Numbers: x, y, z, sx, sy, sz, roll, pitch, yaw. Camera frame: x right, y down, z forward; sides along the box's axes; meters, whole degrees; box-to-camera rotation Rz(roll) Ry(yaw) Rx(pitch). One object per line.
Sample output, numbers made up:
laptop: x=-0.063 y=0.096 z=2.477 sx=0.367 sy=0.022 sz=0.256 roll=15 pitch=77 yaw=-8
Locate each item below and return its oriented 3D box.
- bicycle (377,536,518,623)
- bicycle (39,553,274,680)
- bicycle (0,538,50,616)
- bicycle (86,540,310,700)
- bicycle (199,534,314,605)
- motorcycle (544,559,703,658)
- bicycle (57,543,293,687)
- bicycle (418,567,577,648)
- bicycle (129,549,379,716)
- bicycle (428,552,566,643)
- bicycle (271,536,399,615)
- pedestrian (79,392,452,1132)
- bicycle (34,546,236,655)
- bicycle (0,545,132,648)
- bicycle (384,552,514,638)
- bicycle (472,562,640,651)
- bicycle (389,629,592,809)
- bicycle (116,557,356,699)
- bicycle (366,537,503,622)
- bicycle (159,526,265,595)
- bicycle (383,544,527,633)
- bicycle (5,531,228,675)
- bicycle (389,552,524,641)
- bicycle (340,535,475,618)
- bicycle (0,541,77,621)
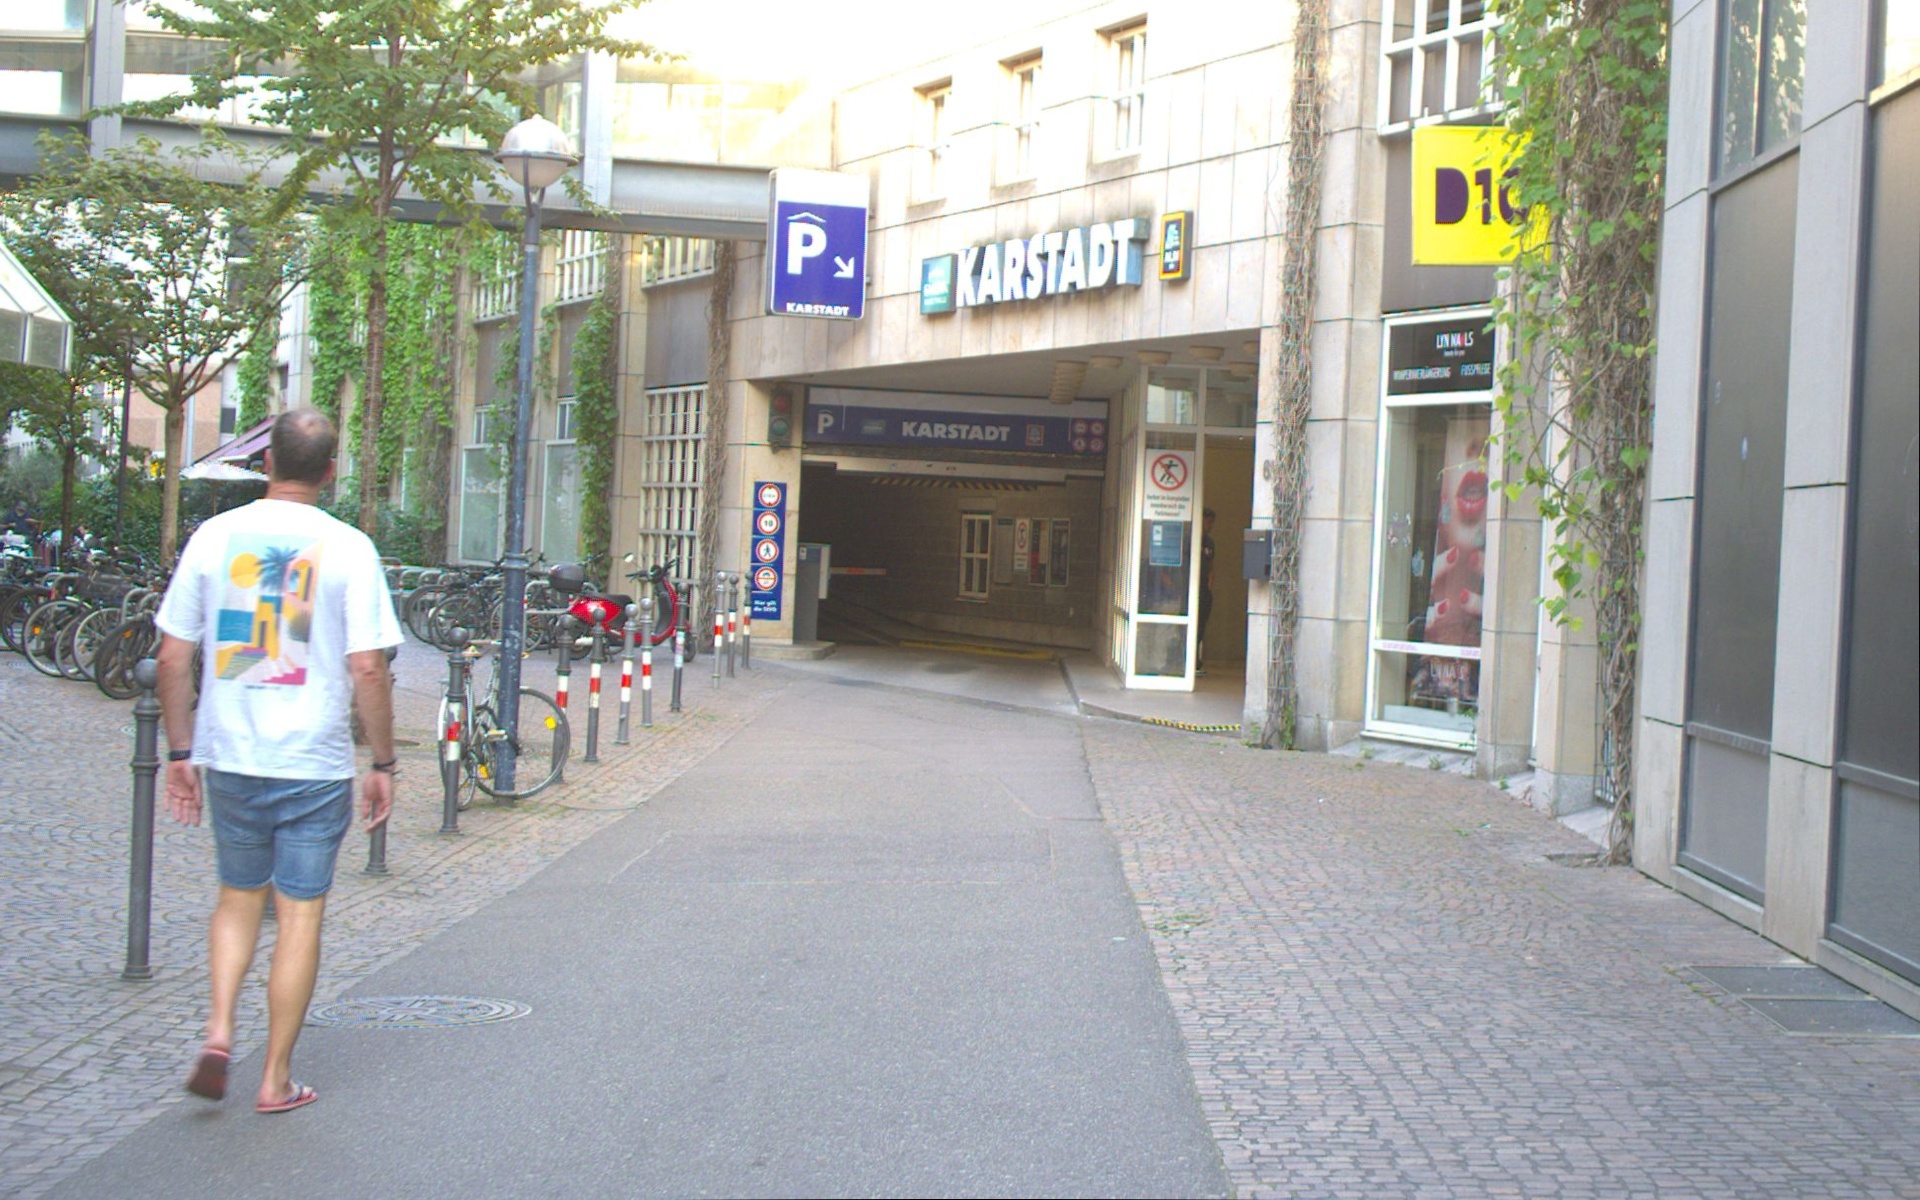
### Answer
bicycle: x=-6.906 y=-0.278 z=46.345 sx=1.773 sy=1.110 sz=0.543 roll=2 pitch=1 yaw=-20
bicycle: x=-6.961 y=0.143 z=29.795 sx=1.893 sy=1.048 sz=0.534 roll=1 pitch=1 yaw=-22
bicycle: x=-12.992 y=-0.321 z=45.463 sx=1.779 sy=1.016 sz=0.481 roll=1 pitch=1 yaw=-22
bicycle: x=-6.073 y=0.161 z=27.409 sx=1.653 sy=1.226 sz=0.534 roll=1 pitch=1 yaw=-22
bicycle: x=-11.598 y=-0.506 z=56.659 sx=1.773 sy=1.110 sz=0.543 roll=2 pitch=1 yaw=-17
motorcycle: x=-3.746 y=0.099 z=38.259 sx=1.662 sy=1.047 sz=0.464 roll=2 pitch=1 yaw=-20
bicycle: x=-6.682 y=0.130 z=29.262 sx=1.872 sy=1.173 sz=0.534 roll=1 pitch=1 yaw=-22
bicycle: x=-5.483 y=0.092 z=40.763 sx=1.773 sy=0.901 sz=0.464 roll=2 pitch=1 yaw=-20
bicycle: x=-5.362 y=0.250 z=26.124 sx=1.766 sy=1.226 sz=0.534 roll=1 pitch=1 yaw=-22
bicycle: x=-5.622 y=-0.029 z=41.713 sx=1.539 sy=1.045 sz=0.575 roll=2 pitch=1 yaw=-20
bicycle: x=-9.248 y=-0.357 z=50.860 sx=1.773 sy=1.110 sz=0.543 roll=2 pitch=1 yaw=-20
pedestrian: x=-1.794 y=0.396 z=8.993 sx=0.742 sy=1.816 sz=0.878 roll=2 pitch=1 yaw=0
bicycle: x=-8.221 y=0.008 z=34.266 sx=1.876 sy=1.039 sz=0.534 roll=1 pitch=1 yaw=-22
bicycle: x=-9.661 y=-0.043 z=36.039 sx=1.824 sy=1.039 sz=0.534 roll=1 pitch=1 yaw=-22
bicycle: x=-6.555 y=-0.060 z=44.097 sx=1.539 sy=1.045 sz=0.575 roll=2 pitch=1 yaw=-20
bicycle: x=-4.685 y=0.077 z=39.903 sx=1.847 sy=0.978 sz=0.464 roll=2 pitch=1 yaw=-20
bicycle: x=-2.671 y=0.658 z=19.713 sx=0.493 sy=0.935 sz=1.658 roll=4 pitch=1 yaw=15
bicycle: x=-5.957 y=0.231 z=28.301 sx=1.836 sy=1.118 sz=0.534 roll=1 pitch=1 yaw=-22
bicycle: x=-7.266 y=-0.281 z=47.551 sx=1.773 sy=1.110 sz=0.543 roll=2 pitch=1 yaw=-20
bicycle: x=-13.465 y=-0.713 z=61.870 sx=1.773 sy=1.186 sz=0.586 roll=2 pitch=1 yaw=-20
bicycle: x=-6.649 y=-0.155 z=45.270 sx=1.773 sy=1.110 sz=0.543 roll=2 pitch=1 yaw=-20
bicycle: x=-7.474 y=0.028 z=30.473 sx=1.833 sy=1.221 sz=0.534 roll=1 pitch=1 yaw=-22
bicycle: x=-6.252 y=-0.047 z=42.697 sx=1.539 sy=1.045 sz=0.575 roll=2 pitch=1 yaw=-20
bicycle: x=-7.807 y=-0.335 z=48.588 sx=1.773 sy=1.110 sz=0.543 roll=2 pitch=1 yaw=-20
bicycle: x=-12.420 y=-0.254 z=44.620 sx=1.779 sy=1.016 sz=0.481 roll=1 pitch=1 yaw=-22
